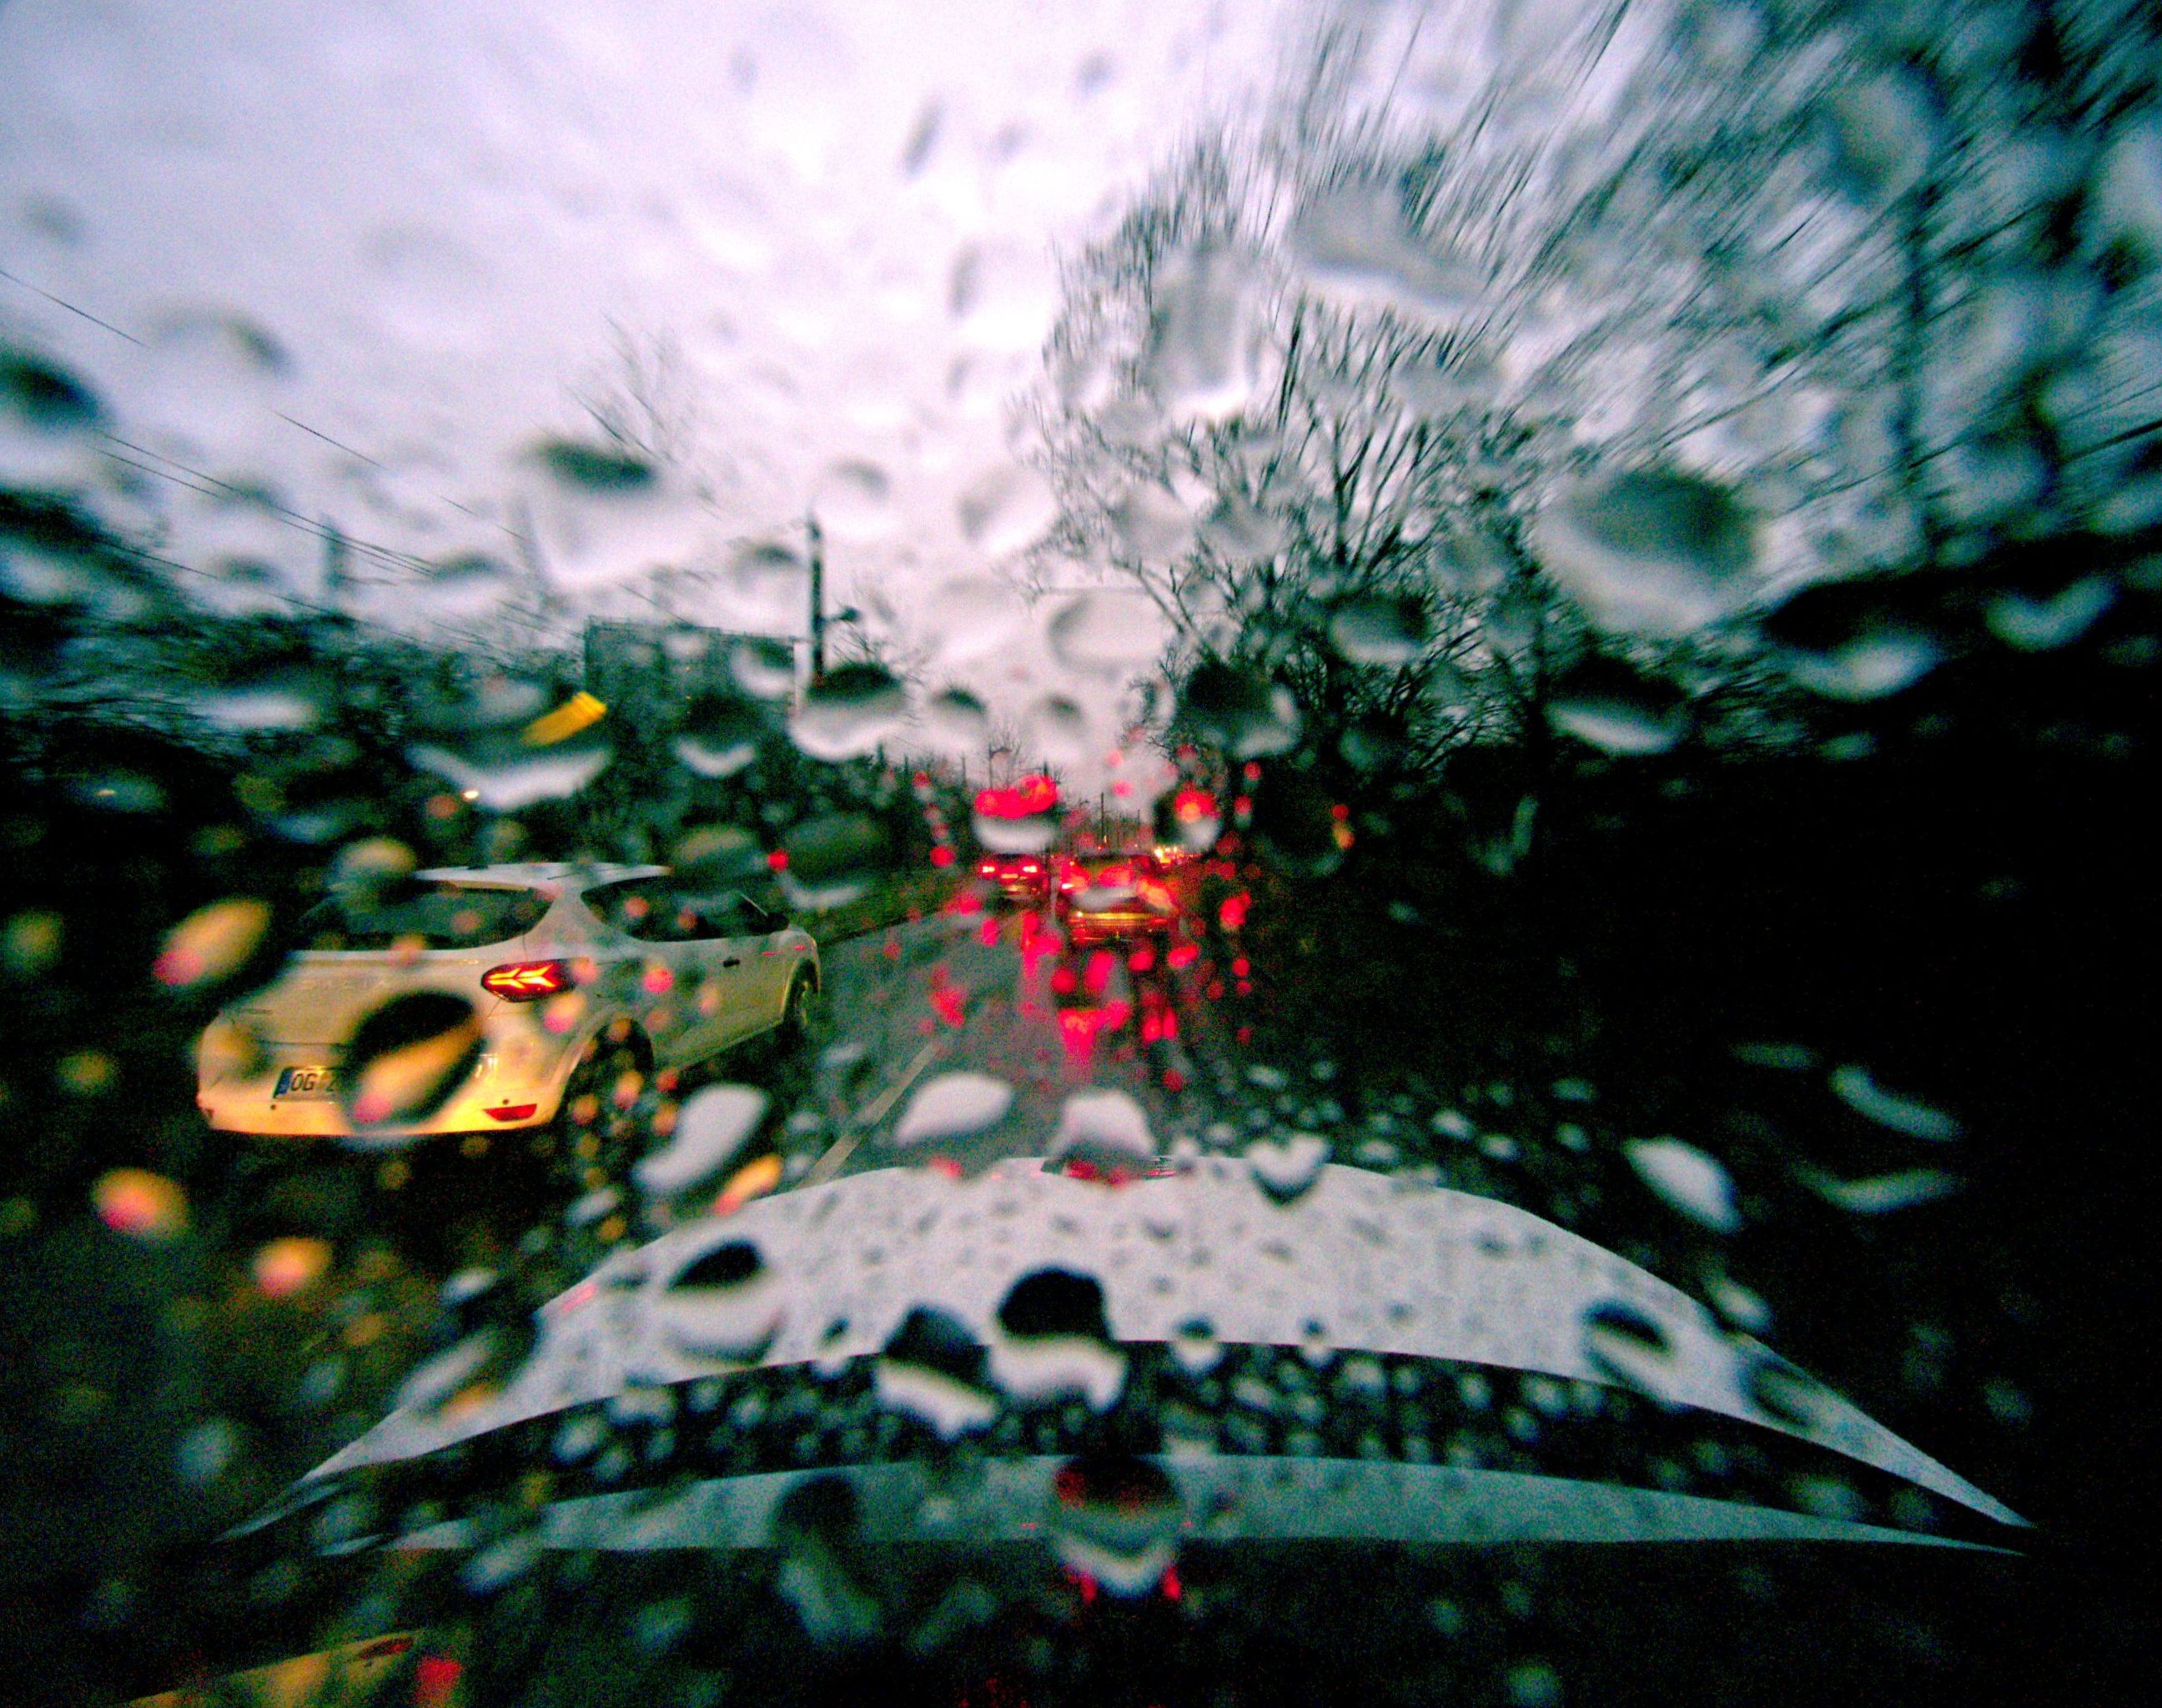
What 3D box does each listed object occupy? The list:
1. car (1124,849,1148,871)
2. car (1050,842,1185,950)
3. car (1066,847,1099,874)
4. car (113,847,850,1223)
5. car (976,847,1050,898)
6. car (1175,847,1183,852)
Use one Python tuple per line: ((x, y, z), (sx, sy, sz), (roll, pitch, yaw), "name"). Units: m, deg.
((4.046, 0.420, 60.044), (1.701, 1.558, 4.000), (-1, 0, 4), "car")
((0.521, 0.606, 14.075), (1.992, 1.584, 3.999), (-1, 0, -1), "car")
((0.140, 0.358, 51.733), (1.872, 1.593, 4.003), (-1, 1, 2), "car")
((-3.075, 0.746, 5.432), (1.702, 1.525, 4.137), (-1, 0, 2), "car")
((-2.127, 0.539, 26.549), (1.872, 1.459, 4.003), (-1, 1, 3), "car")
((30.386, -1.422, 252.534), (1.981, 1.666, 3.848), (-2, 0, 11), "car")
